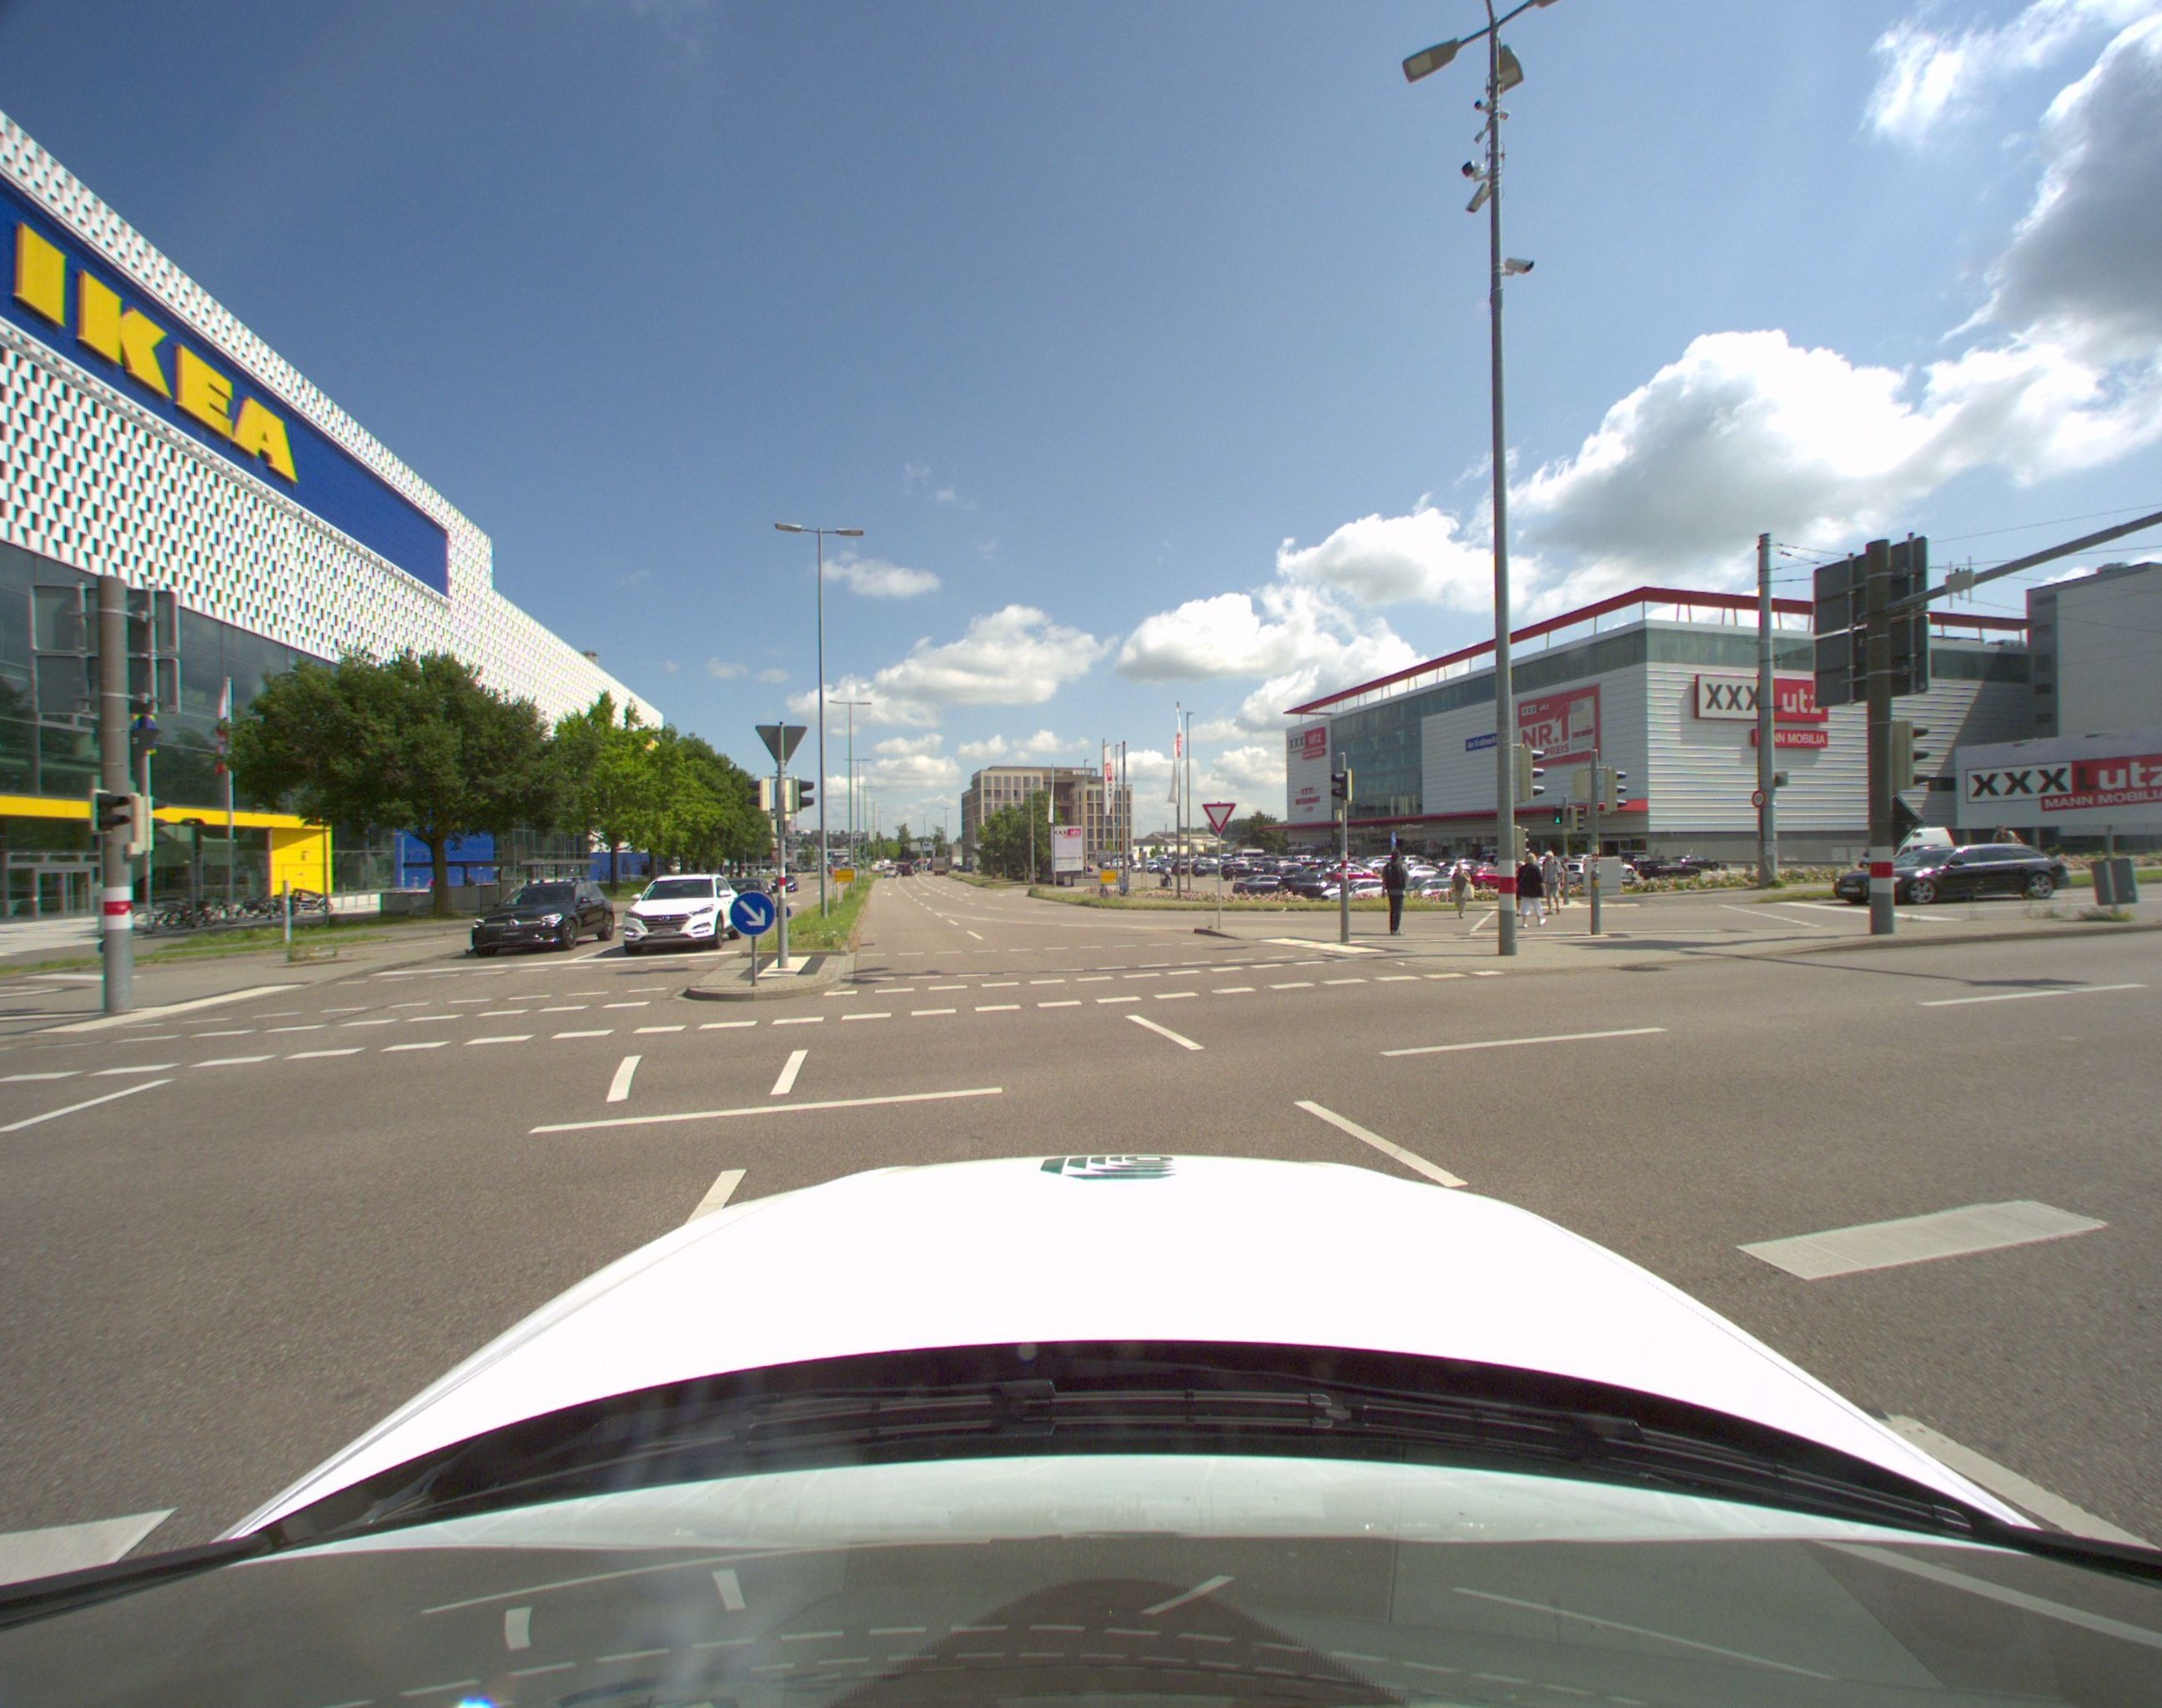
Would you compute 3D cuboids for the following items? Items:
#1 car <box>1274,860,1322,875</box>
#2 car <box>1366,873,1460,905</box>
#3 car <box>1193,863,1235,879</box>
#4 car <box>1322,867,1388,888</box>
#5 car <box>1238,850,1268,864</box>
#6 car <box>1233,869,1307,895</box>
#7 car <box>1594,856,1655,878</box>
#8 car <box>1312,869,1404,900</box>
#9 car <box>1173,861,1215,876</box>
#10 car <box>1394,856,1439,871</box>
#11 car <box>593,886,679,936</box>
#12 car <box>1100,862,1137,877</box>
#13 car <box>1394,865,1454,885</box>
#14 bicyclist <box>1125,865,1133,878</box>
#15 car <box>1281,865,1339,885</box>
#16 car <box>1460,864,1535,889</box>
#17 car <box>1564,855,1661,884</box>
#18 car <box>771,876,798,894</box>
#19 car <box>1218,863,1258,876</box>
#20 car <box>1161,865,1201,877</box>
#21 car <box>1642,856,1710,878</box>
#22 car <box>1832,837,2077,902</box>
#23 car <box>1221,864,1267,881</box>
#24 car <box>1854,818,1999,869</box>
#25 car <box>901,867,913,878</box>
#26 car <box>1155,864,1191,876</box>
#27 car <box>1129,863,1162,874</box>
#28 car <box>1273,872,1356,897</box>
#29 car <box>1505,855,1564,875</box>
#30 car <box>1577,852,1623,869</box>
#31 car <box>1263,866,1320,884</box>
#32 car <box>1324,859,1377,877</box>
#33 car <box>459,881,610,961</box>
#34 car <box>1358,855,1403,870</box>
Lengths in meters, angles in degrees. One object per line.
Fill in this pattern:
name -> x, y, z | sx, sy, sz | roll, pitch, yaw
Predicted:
car -> 21.670, 1.343, 81.338 | 4.296, 1.427, 1.751 | -1, 1, -14
car -> 16.085, 1.678, 39.492 | 3.995, 1.418, 1.706 | 0, -2, -16
car -> 14.502, 1.868, 89.084 | 4.190, 1.552, 1.755 | -2, 0, -16
car -> 20.402, 1.722, 60.698 | 4.363, 1.362, 1.839 | -2, 0, -13
car -> 25.707, 0.470, 122.022 | 3.993, 1.951, 1.990 | 0, -1, -14
car -> 12.321, 1.798, 53.182 | 4.363, 1.476, 1.849 | -2, 0, -13
car -> 42.638, 1.001, 63.900 | 3.996, 1.530, 1.909 | -2, 0, -17
car -> 14.807, 1.624, 43.575 | 4.365, 1.440, 1.788 | -2, 0, -14
car -> 12.951, 1.637, 93.680 | 4.367, 1.574, 2.019 | -2, 0, -16
car -> 35.881, 1.004, 87.104 | 4.347, 1.511, 1.697 | 0, 0, -15
car -> -14.408, 1.785, 26.555 | 1.413, 1.392, 4.076 | -3, -1, -14
car -> 5.961, 2.532, 130.383 | 5.670, 2.366, 2.050 | 0, -2, -16
car -> 25.919, 1.573, 61.514 | 4.028, 1.362, 1.596 | -2, 1, -13
bicyclist -> 5.042, 1.815, 85.498 | 0.616, 1.413, 0.711 | -1, -1, -14
car -> 19.113, 1.747, 67.993 | 4.363, 1.442, 1.620 | -2, 1, -13
car -> 28.022, 1.491, 54.828 | 4.363, 1.427, 1.839 | -2, 1, -13
car -> 29.479, 0.839, 45.185 | 4.363, 1.408, 2.040 | -2, 0, -13
car -> -25.069, 2.615, 69.075 | 1.666, 1.421, 4.496 | -2, -1, -15
car -> 18.350, 1.822, 95.323 | 4.247, 1.464, 1.751 | 0, 0, -16
car -> 12.092, 2.074, 98.574 | 4.367, 1.325, 1.755 | -2, 0, -16
car -> 43.037, 0.905, 58.912 | 3.996, 1.441, 1.909 | -2, 0, -17
car -> 22.566, 0.386, 21.178 | 4.170, 1.483, 1.918 | -2, 0, 3
car -> 15.841, 1.797, 79.247 | 4.064, 1.531, 1.731 | -2, -1, -18
car -> 57.489, -0.701, 55.413 | 7.884, 3.154, 3.110 | -2, 0, -12
car -> -31.333, 3.311, 146.616 | 1.819, 1.809, 3.987 | 1, -1, -9
car -> 11.449, 1.961, 101.595 | 4.190, 1.325, 1.679 | -2, 0, -15
car -> 8.831, 2.004, 111.376 | 4.194, 1.389, 1.882 | -2, 0, -17
car -> 13.858, 1.768, 48.403 | 4.364, 1.416, 1.848 | 0, -1, -14
car -> 36.023, 0.870, 64.743 | 3.992, 1.451, 1.661 | -2, 0, -14
car -> 49.292, 0.606, 77.336 | 3.645, 1.523, 1.672 | 0, 0, -14
car -> 18.130, 1.825, 70.158 | 4.363, 1.362, 1.839 | -2, 1, -13
car -> 23.782, 1.210, 71.856 | 4.154, 1.508, 1.817 | 0, 0, -14
car -> -13.066, 1.540, 19.757 | 1.773, 1.615, 3.979 | -3, -2, -15
car -> 30.672, 0.899, 83.407 | 4.164, 1.511, 1.695 | 0, 0, -18
